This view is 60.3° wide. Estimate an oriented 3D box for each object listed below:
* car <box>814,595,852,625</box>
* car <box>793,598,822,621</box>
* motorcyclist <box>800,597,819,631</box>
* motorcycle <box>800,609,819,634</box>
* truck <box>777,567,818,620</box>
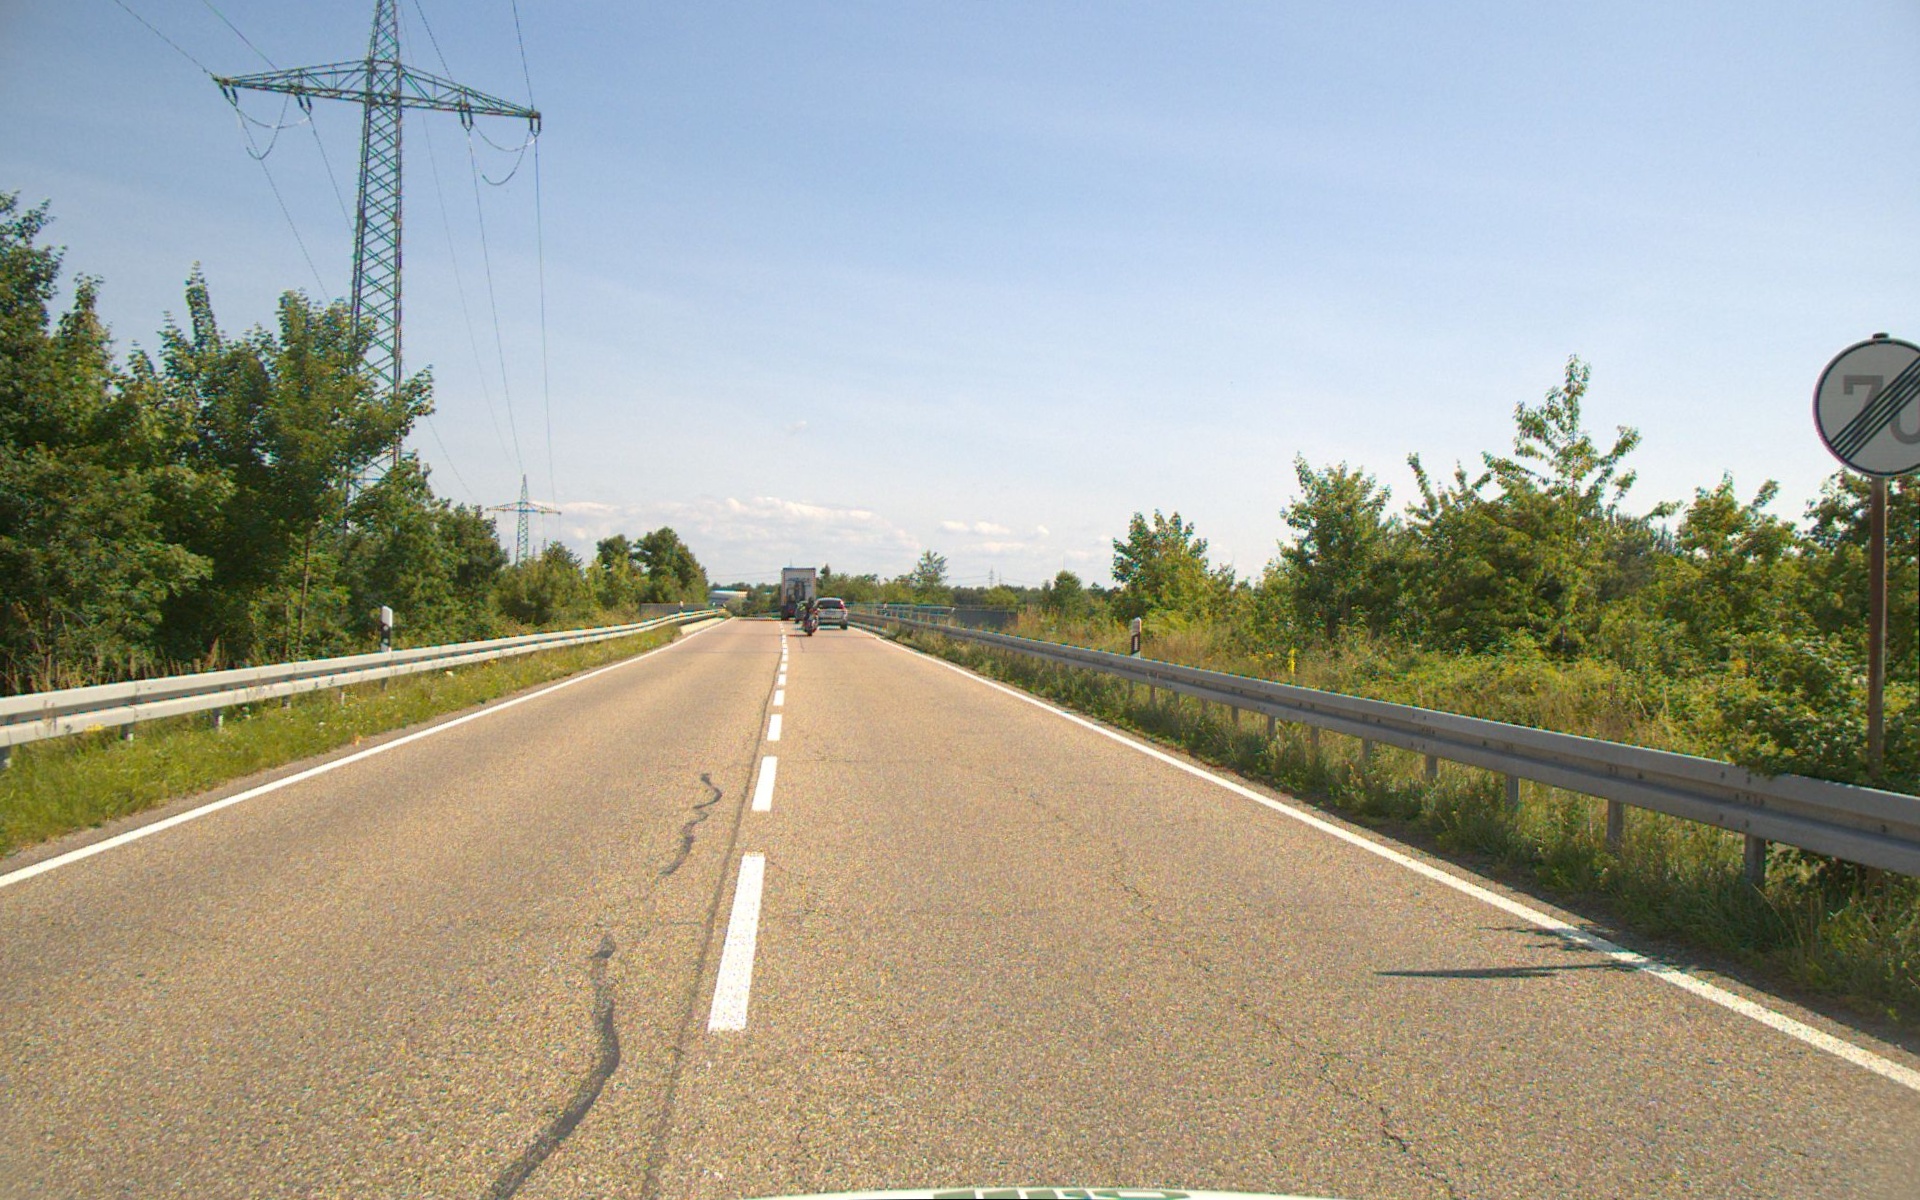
[{"bbox_3d":[-6.435,0.491,83.595,1.790,1.477,3.995,1,0,-6],"label":"car"},{"bbox_3d":[-9.942,0.614,107.850,1.830,1.445,3.996,1,0,-5],"label":"car"},{"bbox_3d":[-6.191,0.573,68.182,0.765,1.349,0.812,1,0,-5],"label":"motorcyclist"},{"bbox_3d":[-6.203,0.881,68.161,0.765,0.992,2.359,1,0,-5],"label":"motorcycle"},{"bbox_3d":[-13.060,-0.488,132.829,3.179,4.048,9.431,1,0,-6],"label":"truck"}]
